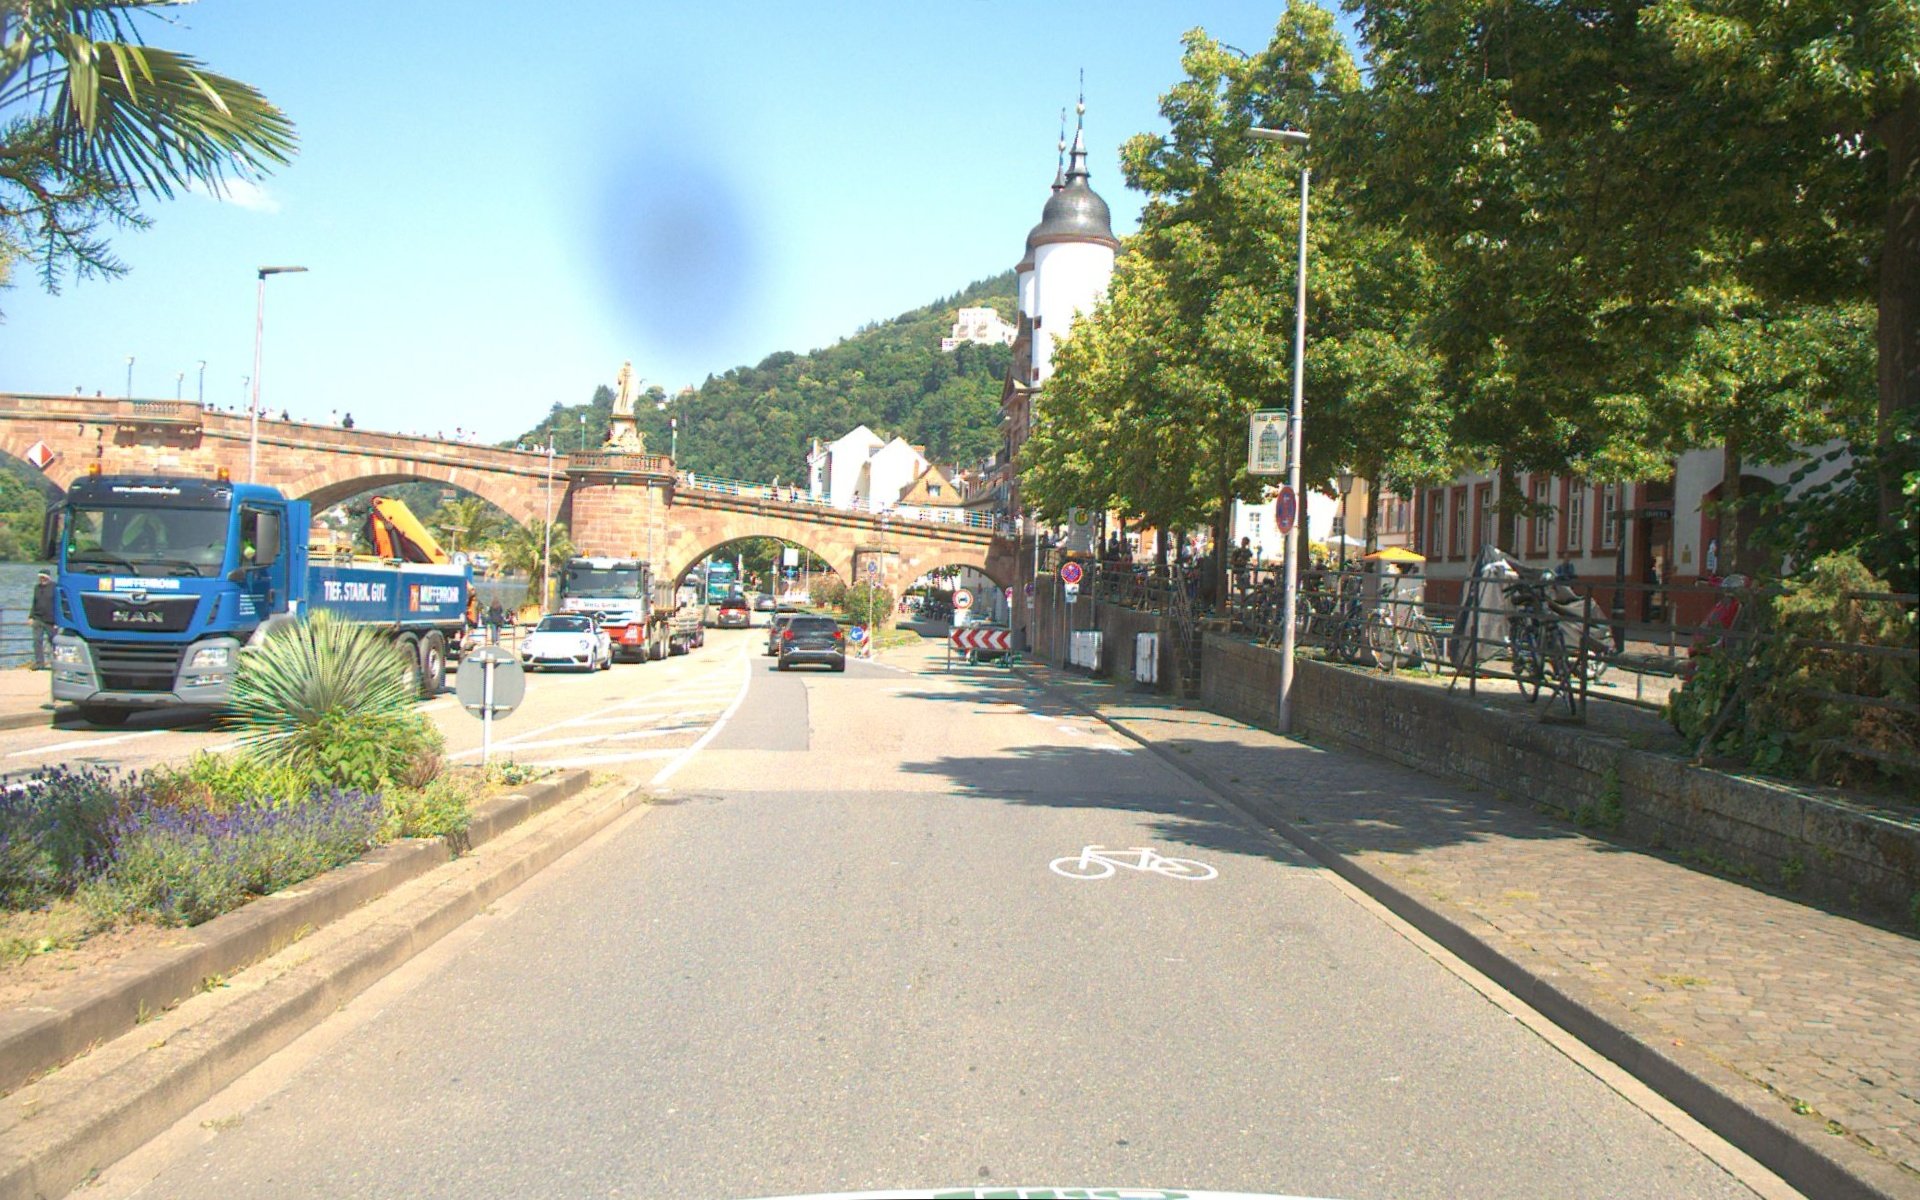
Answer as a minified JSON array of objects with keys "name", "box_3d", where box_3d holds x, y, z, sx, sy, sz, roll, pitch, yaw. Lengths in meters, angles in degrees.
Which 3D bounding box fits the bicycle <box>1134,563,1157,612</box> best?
[{"name":"bicycle","box_3d":[4.387,-0.284,39.168,0.401,1.125,1.735,1,-1,2]}]

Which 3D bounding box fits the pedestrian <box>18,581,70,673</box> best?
[{"name":"pedestrian","box_3d":[-16.239,0.478,29.328,0.576,1.584,0.414,4,-1,0]}]

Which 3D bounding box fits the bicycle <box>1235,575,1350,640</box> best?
[{"name":"bicycle","box_3d":[5.429,0.124,27.020,1.818,1.022,0.298,1,0,-5]}]

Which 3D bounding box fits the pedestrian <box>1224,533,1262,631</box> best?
[{"name":"pedestrian","box_3d":[6.574,-0.414,38.405,0.704,2.227,0.711,1,-1,-2]}]

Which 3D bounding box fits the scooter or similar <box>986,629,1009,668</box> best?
[{"name":"scooter or similar","box_3d":[1.240,1.577,54.085,0.520,1.252,1.272,1,-1,11]}]

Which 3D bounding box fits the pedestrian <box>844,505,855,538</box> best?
[{"name":"pedestrian","box_3d":[-7.170,-5.087,107.332,0.671,2.049,0.585,1,-1,-6]}]

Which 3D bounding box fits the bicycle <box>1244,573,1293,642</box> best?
[{"name":"bicycle","box_3d":[4.743,0.100,25.517,0.292,1.022,1.859,1,0,-3]}]

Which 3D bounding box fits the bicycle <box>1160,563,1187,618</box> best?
[{"name":"bicycle","box_3d":[4.520,-0.188,35.019,0.401,1.125,1.735,1,-1,2]}]

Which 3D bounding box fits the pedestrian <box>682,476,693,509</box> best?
[{"name":"pedestrian","box_3d":[-17.231,-6.798,104.544,0.570,2.049,0.585,1,-1,-5]}]

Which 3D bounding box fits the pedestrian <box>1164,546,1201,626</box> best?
[{"name":"pedestrian","box_3d":[4.942,-0.312,36.825,0.704,1.751,0.573,1,-1,-3]}]

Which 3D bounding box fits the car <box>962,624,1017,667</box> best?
[{"name":"car","box_3d":[1.075,1.678,62.146,1.806,1.475,4.532,2,-1,-2]}]

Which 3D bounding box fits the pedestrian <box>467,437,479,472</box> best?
[{"name":"pedestrian","box_3d":[-29.379,-8.793,99.807,0.613,2.049,0.693,1,-1,-13]}]

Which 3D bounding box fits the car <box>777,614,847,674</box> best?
[{"name":"car","box_3d":[-4.129,1.177,45.999,1.821,1.550,3.995,1,0,-6]}]

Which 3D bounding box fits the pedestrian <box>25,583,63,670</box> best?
[{"name":"pedestrian","box_3d":[-16.244,0.473,29.341,0.343,1.511,0.414,4,-1,0]}]

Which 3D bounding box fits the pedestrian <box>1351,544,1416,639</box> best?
[{"name":"pedestrian","box_3d":[5.877,-0.110,22.974,0.681,1.287,0.669,1,-1,-6]}]

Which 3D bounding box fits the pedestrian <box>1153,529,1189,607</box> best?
[{"name":"pedestrian","box_3d":[4.851,-0.730,38.070,0.704,1.751,0.711,1,-1,-2]}]

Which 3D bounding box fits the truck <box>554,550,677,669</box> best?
[{"name":"truck","box_3d":[-10.871,0.335,52.909,2.589,3.517,7.866,0,-1,-2]}]

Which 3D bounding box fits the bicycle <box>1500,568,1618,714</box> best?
[{"name":"bicycle","box_3d":[5.004,0.329,13.916,0.337,1.132,1.919,1,0,2]}]

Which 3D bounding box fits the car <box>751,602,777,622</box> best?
[{"name":"car","box_3d":[-16.872,1.009,142.388,1.823,1.691,3.988,0,0,-12]}]

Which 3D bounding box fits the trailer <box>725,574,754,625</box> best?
[{"name":"trailer","box_3d":[-14.778,-0.052,110.766,1.707,3.378,3.381,0,0,-4]}]

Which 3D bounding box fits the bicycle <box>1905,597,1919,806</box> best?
[{"name":"bicycle","box_3d":[5.061,0.532,7.487,0.295,1.067,2.162,0,1,-1]}]

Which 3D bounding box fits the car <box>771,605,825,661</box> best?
[{"name":"car","box_3d":[-6.145,1.227,63.084,1.954,2.049,3.996,1,0,-5]}]

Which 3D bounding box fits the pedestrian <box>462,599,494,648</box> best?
[{"name":"pedestrian","box_3d":[-17.433,0.859,59.814,0.790,1.721,0.833,2,0,-43]}]

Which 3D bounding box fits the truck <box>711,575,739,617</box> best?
[{"name":"truck","box_3d":[-22.075,-0.389,155.253,2.476,3.814,6.237,0,1,-7]}]

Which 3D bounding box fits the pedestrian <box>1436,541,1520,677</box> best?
[{"name":"pedestrian","box_3d":[5.645,0.102,18.046,0.654,1.440,0.696,1,-1,-3]}]

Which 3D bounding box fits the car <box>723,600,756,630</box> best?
[{"name":"car","box_3d":[-14.008,0.957,105.315,1.837,1.859,4.539,0,0,-5]}]

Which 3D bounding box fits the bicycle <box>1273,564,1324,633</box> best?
[{"name":"bicycle","box_3d":[5.858,-0.030,28.712,0.374,1.160,1.933,1,0,-3]}]

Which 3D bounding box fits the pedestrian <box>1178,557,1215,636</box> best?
[{"name":"pedestrian","box_3d":[5.350,-0.081,37.468,0.704,1.751,0.573,1,-1,-3]}]

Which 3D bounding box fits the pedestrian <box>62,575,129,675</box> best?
[{"name":"pedestrian","box_3d":[-15.404,0.434,29.491,0.697,1.736,0.845,2,0,0]}]

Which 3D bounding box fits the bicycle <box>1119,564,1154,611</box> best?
[{"name":"bicycle","box_3d":[4.379,-0.304,41.146,0.402,1.125,1.731,1,-1,-9]}]

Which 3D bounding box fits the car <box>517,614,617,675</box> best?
[{"name":"car","box_3d":[-10.102,1.138,42.782,1.742,1.469,3.995,1,-1,-2]}]

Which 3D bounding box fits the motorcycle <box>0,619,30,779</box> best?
[{"name":"motorcycle","box_3d":[-8.843,0.870,13.799,0.711,1.411,2.511,1,0,0]}]

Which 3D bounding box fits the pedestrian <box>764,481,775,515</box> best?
[{"name":"pedestrian","box_3d":[-11.680,-6.239,101.371,0.611,2.049,0.694,1,-1,-5]}]

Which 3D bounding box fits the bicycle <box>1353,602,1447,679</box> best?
[{"name":"bicycle","box_3d":[4.803,0.424,18.158,0.343,0.797,1.916,1,0,-6]}]

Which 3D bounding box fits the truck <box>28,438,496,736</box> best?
[{"name":"truck","box_3d":[-9.956,-0.113,25.469,2.588,3.537,11.104,1,0,-1]}]

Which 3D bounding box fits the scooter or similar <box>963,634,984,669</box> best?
[{"name":"scooter or similar","box_3d":[0.434,1.667,53.979,0.520,1.109,1.440,1,-1,7]}]

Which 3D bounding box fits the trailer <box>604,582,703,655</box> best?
[{"name":"trailer","box_3d":[-11.247,0.709,61.294,2.643,2.575,6.943,0,-1,-2]}]

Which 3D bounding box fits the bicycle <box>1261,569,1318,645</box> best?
[{"name":"bicycle","box_3d":[4.643,0.082,23.374,0.292,1.022,1.940,1,0,-3]}]

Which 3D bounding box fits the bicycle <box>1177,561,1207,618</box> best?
[{"name":"bicycle","box_3d":[4.666,-0.198,33.333,0.401,1.125,1.924,1,0,2]}]

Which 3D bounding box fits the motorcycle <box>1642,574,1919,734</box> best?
[{"name":"motorcycle","box_3d":[5.961,0.385,11.981,1.880,1.117,0.573,0,-1,-10]}]

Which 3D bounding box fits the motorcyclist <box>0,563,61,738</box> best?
[{"name":"motorcyclist","box_3d":[-8.795,0.443,15.076,0.687,1.553,0.861,1,-1,0]}]
